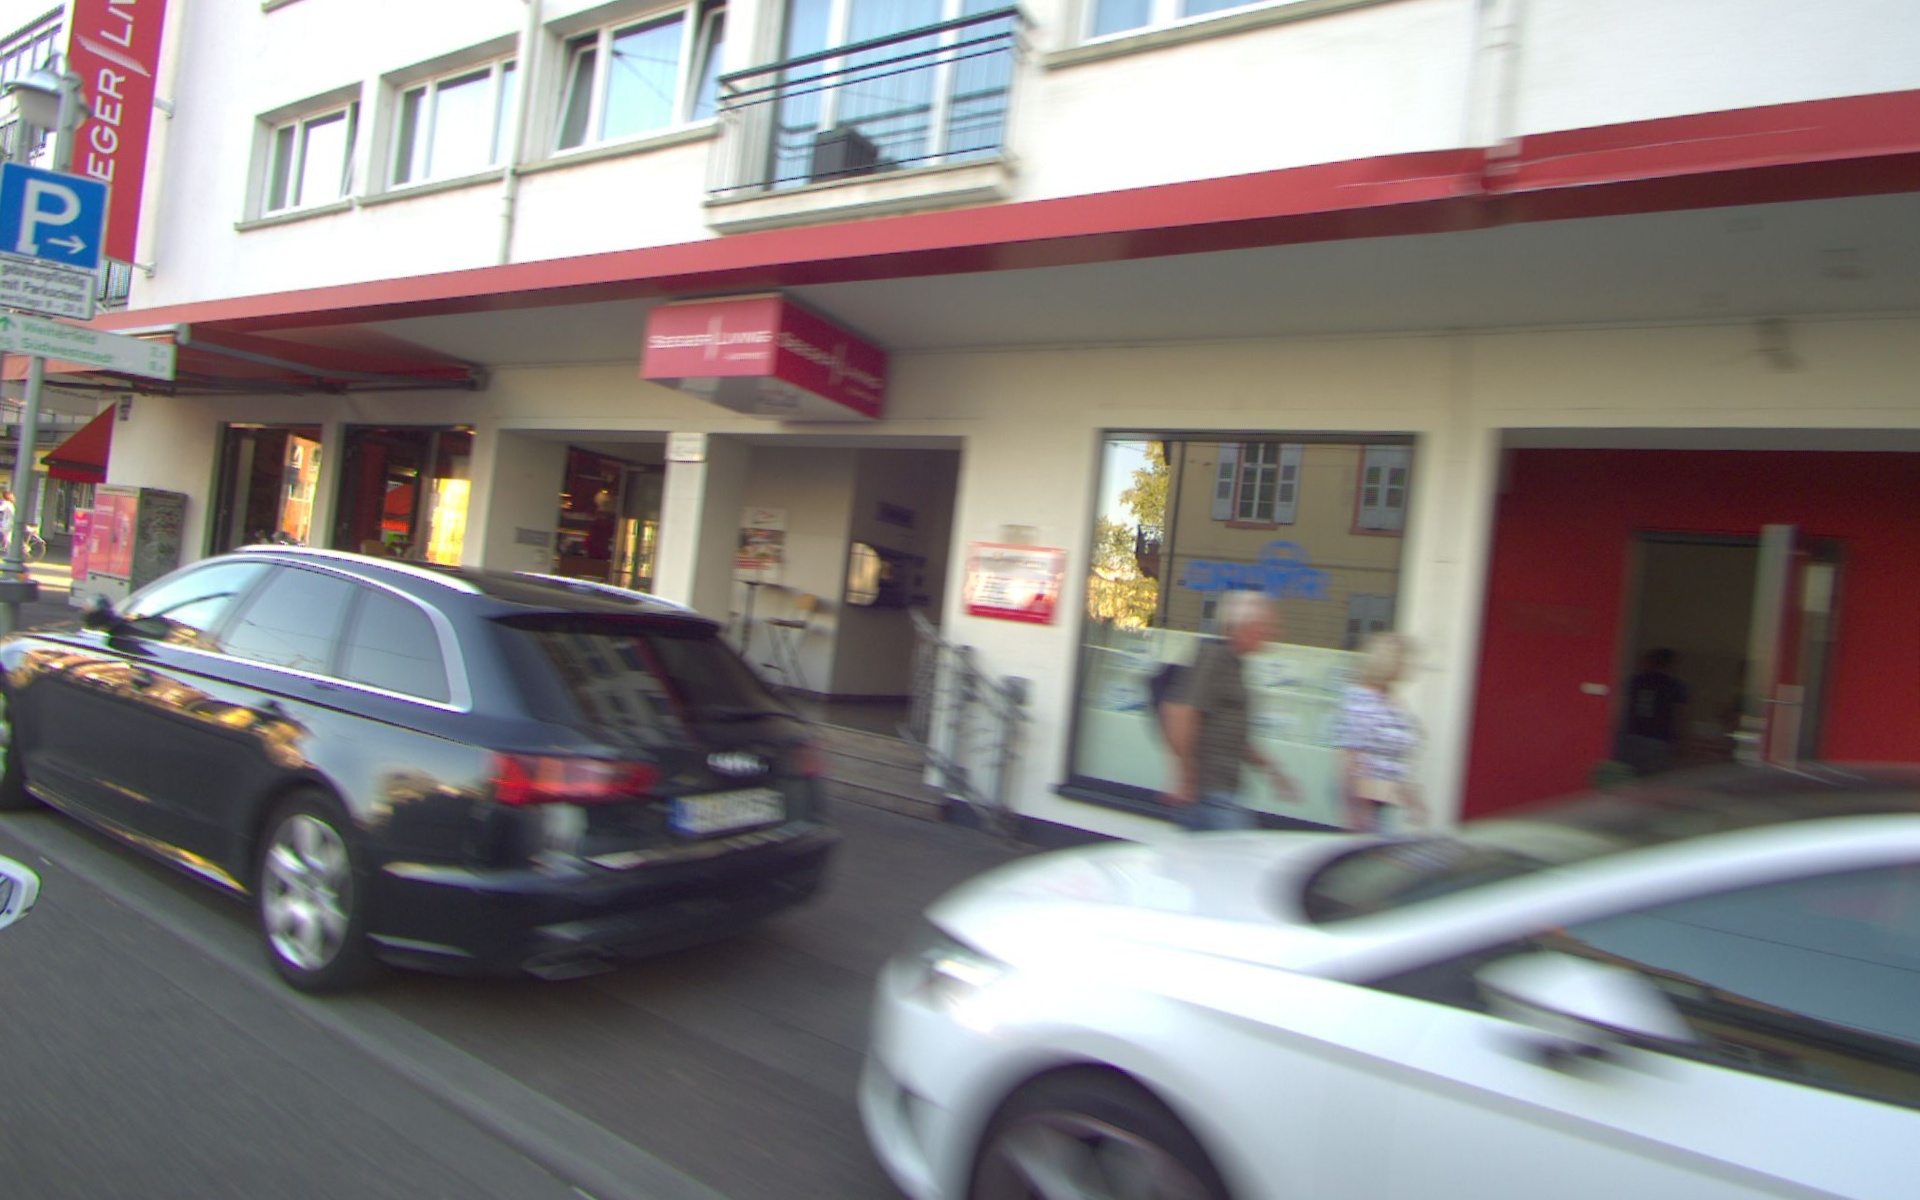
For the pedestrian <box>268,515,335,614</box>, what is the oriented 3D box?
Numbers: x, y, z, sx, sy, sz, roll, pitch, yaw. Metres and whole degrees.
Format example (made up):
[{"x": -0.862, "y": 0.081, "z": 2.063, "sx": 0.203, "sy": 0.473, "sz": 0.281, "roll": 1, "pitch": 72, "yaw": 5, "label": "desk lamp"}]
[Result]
[{"x": -8.793, "y": -0.466, "z": 13.453, "sx": 0.497, "sy": 1.231, "sz": 0.521, "roll": 7, "pitch": 0, "yaw": -16, "label": "pedestrian"}]

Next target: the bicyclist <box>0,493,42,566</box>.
[{"x": -22.670, "y": -1.701, "z": 23.841, "sx": 1.105, "sy": 1.642, "sz": 0.832, "roll": 7, "pitch": 0, "yaw": -36, "label": "bicyclist"}]

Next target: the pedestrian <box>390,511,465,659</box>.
[{"x": -6.747, "y": -0.186, "z": 12.782, "sx": 0.519, "sy": 1.781, "sz": 0.602, "roll": 7, "pitch": 0, "yaw": -13, "label": "pedestrian"}]

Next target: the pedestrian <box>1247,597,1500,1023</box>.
[{"x": 2.001, "y": 0.924, "z": 4.846, "sx": 0.849, "sy": 1.763, "sz": 0.729, "roll": 7, "pitch": 1, "yaw": 31, "label": "pedestrian"}]

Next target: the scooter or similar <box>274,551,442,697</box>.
[{"x": -5.749, "y": 0.234, "z": 9.641, "sx": 1.227, "sy": 1.217, "sz": 0.356, "roll": 7, "pitch": 0, "yaw": -7, "label": "scooter or similar"}]

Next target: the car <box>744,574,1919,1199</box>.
[{"x": 1.708, "y": 0.952, "z": 2.085, "sx": 3.984, "sy": 1.531, "sz": 1.787, "roll": 7, "pitch": 1, "yaw": 31, "label": "car"}]

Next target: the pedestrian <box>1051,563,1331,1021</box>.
[{"x": 1.051, "y": 0.772, "z": 4.503, "sx": 0.829, "sy": 1.740, "sz": 0.827, "roll": 7, "pitch": 1, "yaw": 31, "label": "pedestrian"}]

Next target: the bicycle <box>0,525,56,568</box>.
[{"x": -22.806, "y": -1.338, "z": 23.773, "sx": 1.995, "sy": 0.891, "sz": 0.832, "roll": 8, "pitch": -2, "yaw": -36, "label": "bicycle"}]

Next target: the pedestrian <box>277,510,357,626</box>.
[{"x": -8.115, "y": -0.399, "z": 12.703, "sx": 0.495, "sy": 1.375, "sz": 0.523, "roll": 7, "pitch": 0, "yaw": 20, "label": "pedestrian"}]

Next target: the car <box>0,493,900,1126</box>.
[{"x": -2.729, "y": 0.479, "z": 4.620, "sx": 4.606, "sy": 1.531, "sz": 1.737, "roll": 7, "pitch": 1, "yaw": 31, "label": "car"}]
